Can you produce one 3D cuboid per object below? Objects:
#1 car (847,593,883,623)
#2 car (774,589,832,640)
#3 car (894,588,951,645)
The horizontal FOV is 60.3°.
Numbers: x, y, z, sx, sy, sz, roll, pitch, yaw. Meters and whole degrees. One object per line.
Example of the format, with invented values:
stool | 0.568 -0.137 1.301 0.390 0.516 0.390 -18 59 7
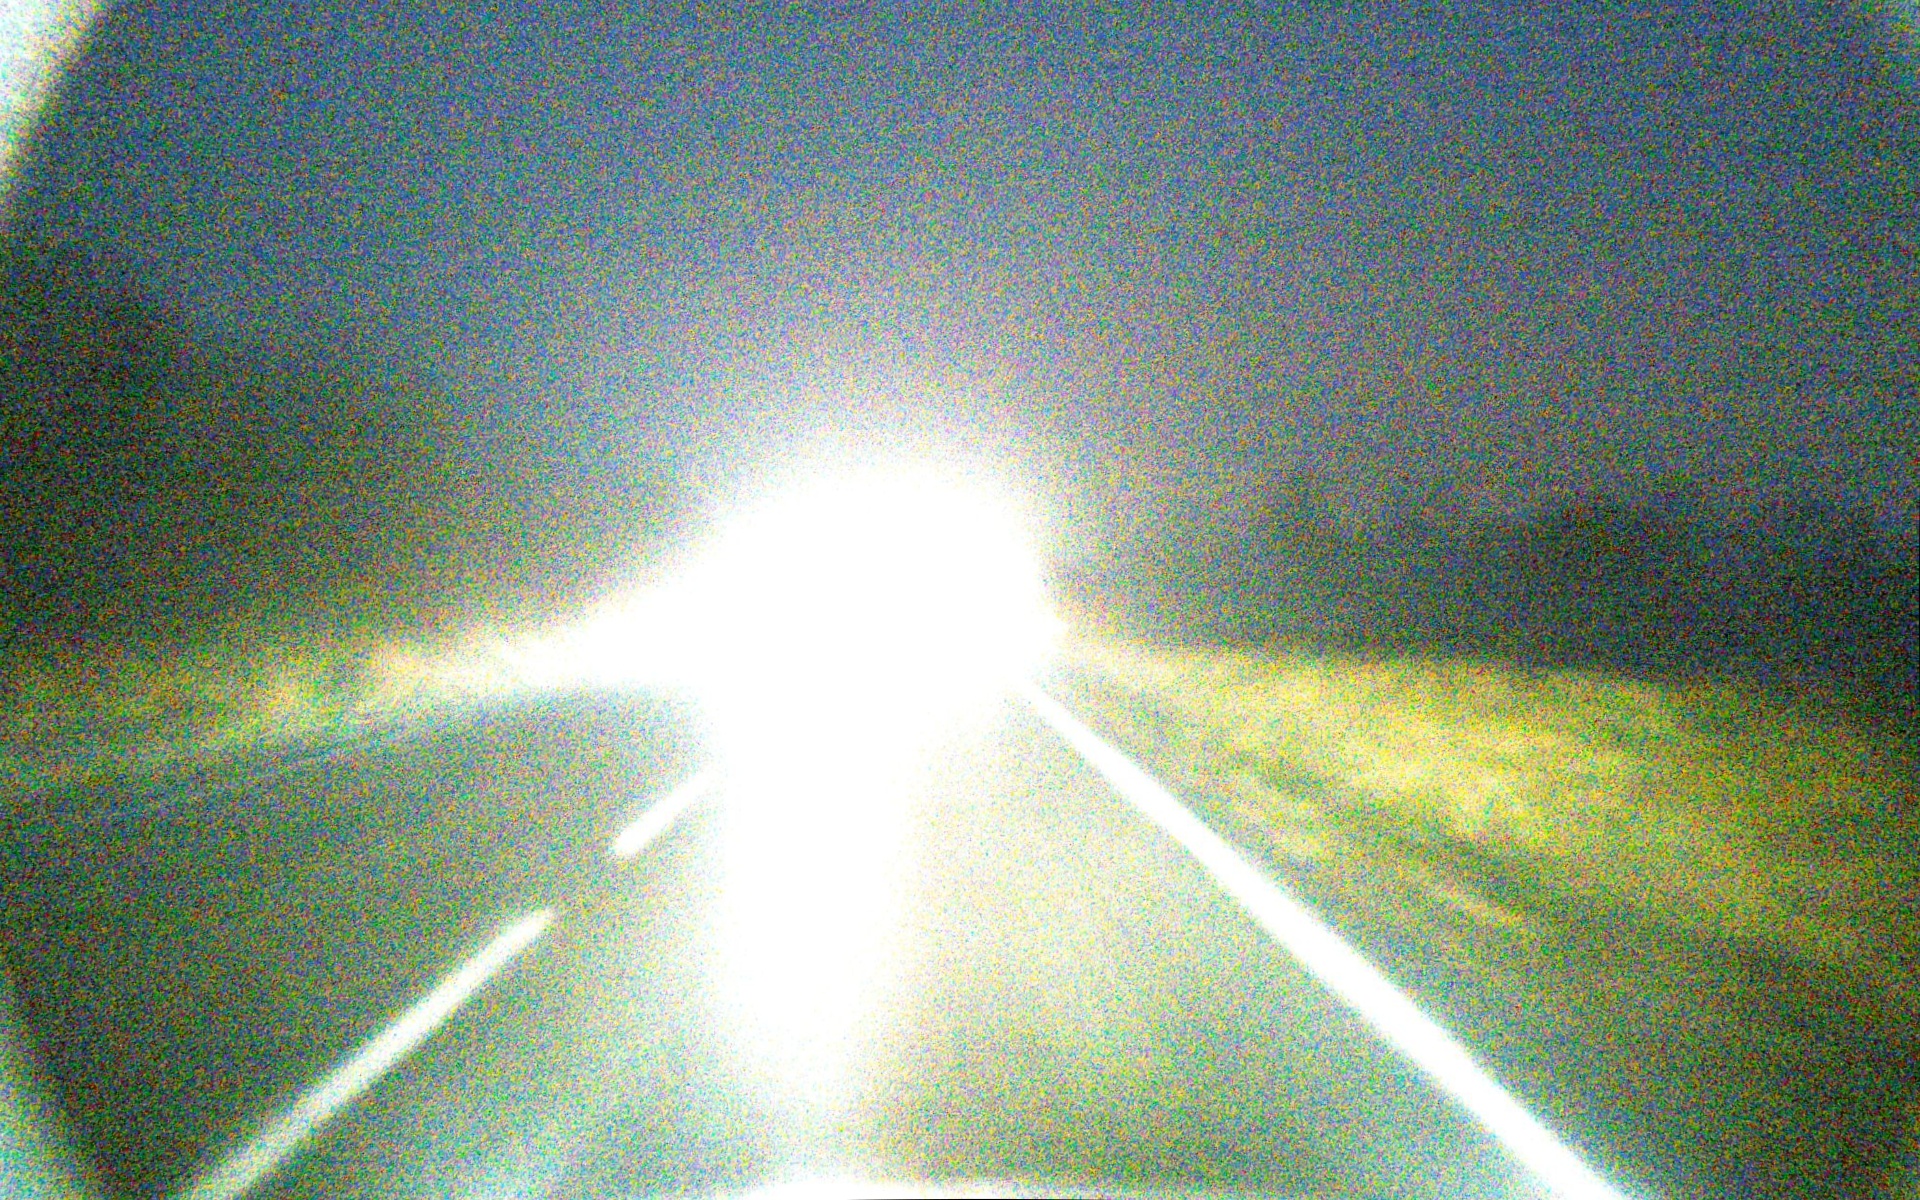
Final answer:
car | -5.667 0.479 99.125 1.953 1.690 3.999 2 0 -1
car | -5.731 0.566 60.382 1.955 1.690 3.995 4 -2 -5
car | -1.284 0.528 57.084 1.805 1.770 4.000 3 1 -1
